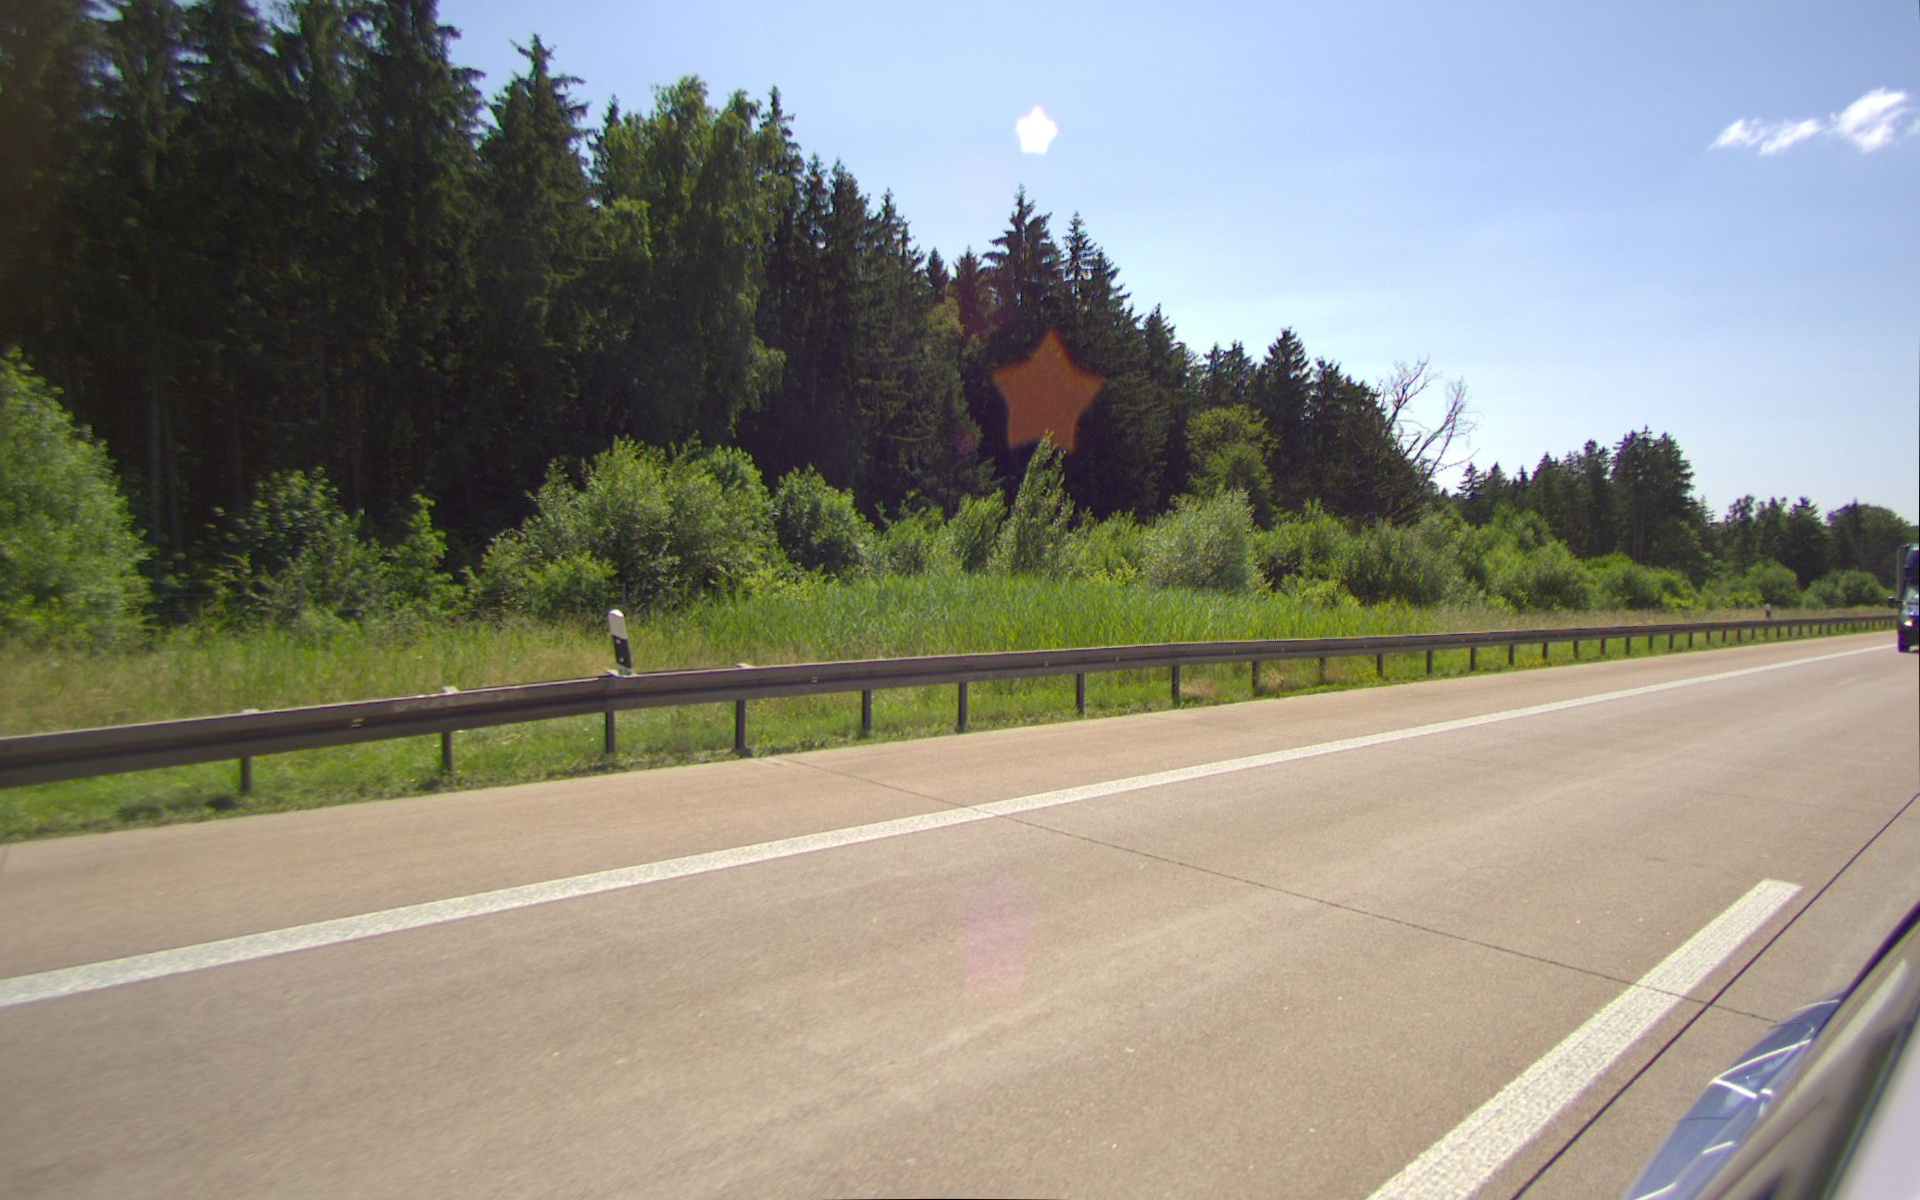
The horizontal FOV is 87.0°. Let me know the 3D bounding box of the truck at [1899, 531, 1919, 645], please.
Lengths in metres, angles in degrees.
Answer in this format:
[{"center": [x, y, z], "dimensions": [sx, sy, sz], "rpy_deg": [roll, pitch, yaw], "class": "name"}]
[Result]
[{"center": [30.878, -0.327, 30.757], "dimensions": [7.646, 3.259, 2.507], "rpy_deg": [0, 1, -40], "class": "truck"}]
